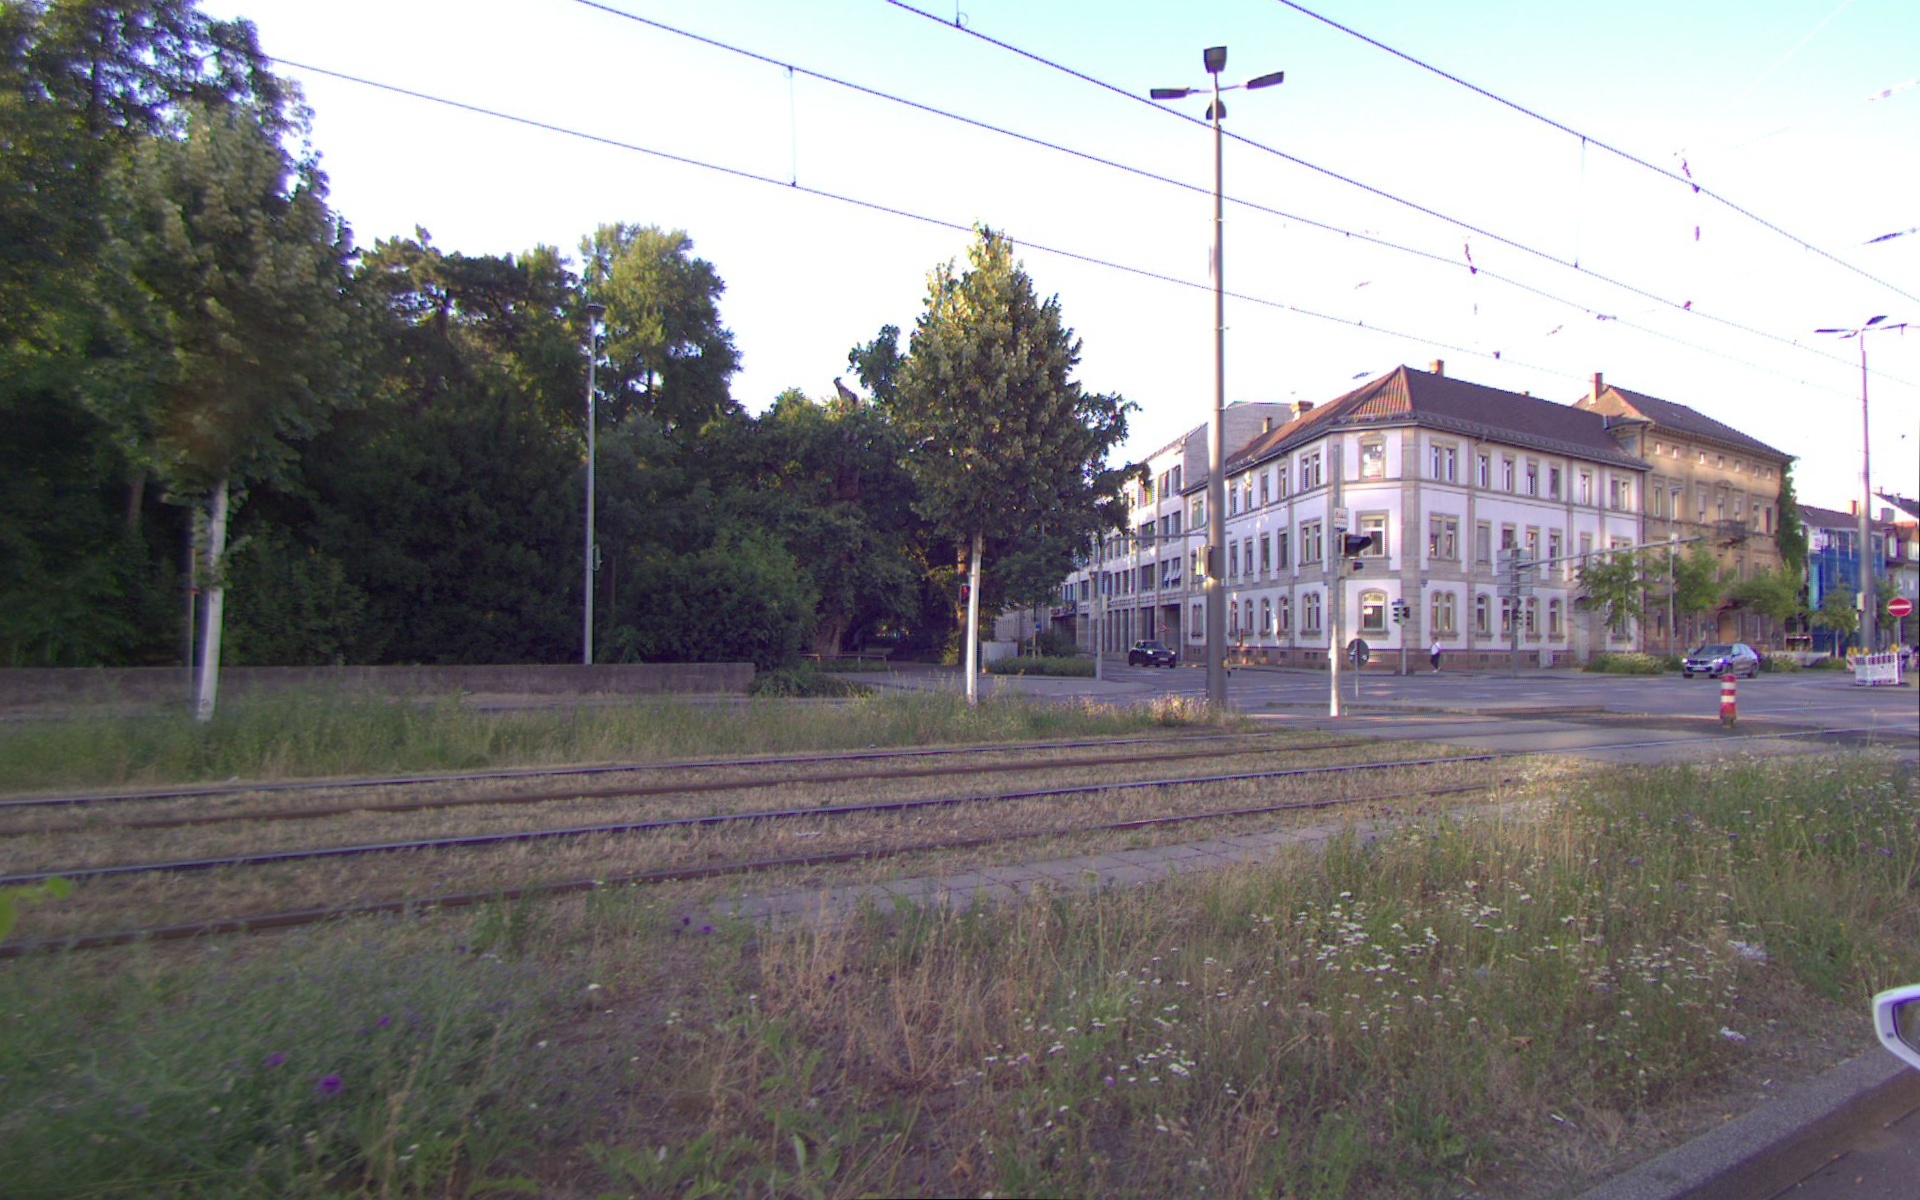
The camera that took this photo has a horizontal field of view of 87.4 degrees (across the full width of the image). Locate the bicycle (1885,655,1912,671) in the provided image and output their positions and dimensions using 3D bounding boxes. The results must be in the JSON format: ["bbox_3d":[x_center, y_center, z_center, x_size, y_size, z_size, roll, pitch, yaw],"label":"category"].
[{"bbox_3d":[57.264,3.834,61.278,1.621,0.957,0.768,2,0,-31],"label":"bicycle"}]

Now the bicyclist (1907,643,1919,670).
[{"bbox_3d":[57.298,3.389,60.172,0.702,1.590,0.587,1,0,-30],"label":"bicyclist"}]

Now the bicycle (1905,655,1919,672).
[{"bbox_3d":[57.287,3.811,60.176,1.538,0.988,0.587,1,0,-31],"label":"bicycle"}]

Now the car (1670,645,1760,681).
[{"bbox_3d":[35.502,2.932,47.230,4.077,1.601,1.984,2,-3,-31],"label":"car"}]

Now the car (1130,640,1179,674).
[{"bbox_3d":[10.448,3.040,54.277,1.755,1.576,3.999,1,0,-1],"label":"car"}]

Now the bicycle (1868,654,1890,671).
[{"bbox_3d":[55.132,3.753,60.264,1.539,1.002,0.586,1,0,-32],"label":"bicycle"}]

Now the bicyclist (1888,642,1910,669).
[{"bbox_3d":[57.277,3.387,61.274,0.783,1.592,0.768,1,0,-30],"label":"bicyclist"}]

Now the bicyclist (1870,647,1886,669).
[{"bbox_3d":[55.006,3.469,60.176,0.455,1.283,0.586,1,0,-32],"label":"bicyclist"}]

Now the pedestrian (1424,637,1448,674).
[{"bbox_3d":[22.916,2.676,48.375,0.796,1.738,0.704,1,0,3],"label":"pedestrian"}]

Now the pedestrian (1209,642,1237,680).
[{"bbox_3d":[10.385,2.397,39.678,0.926,1.478,0.600,2,0,-33],"label":"pedestrian"}]
